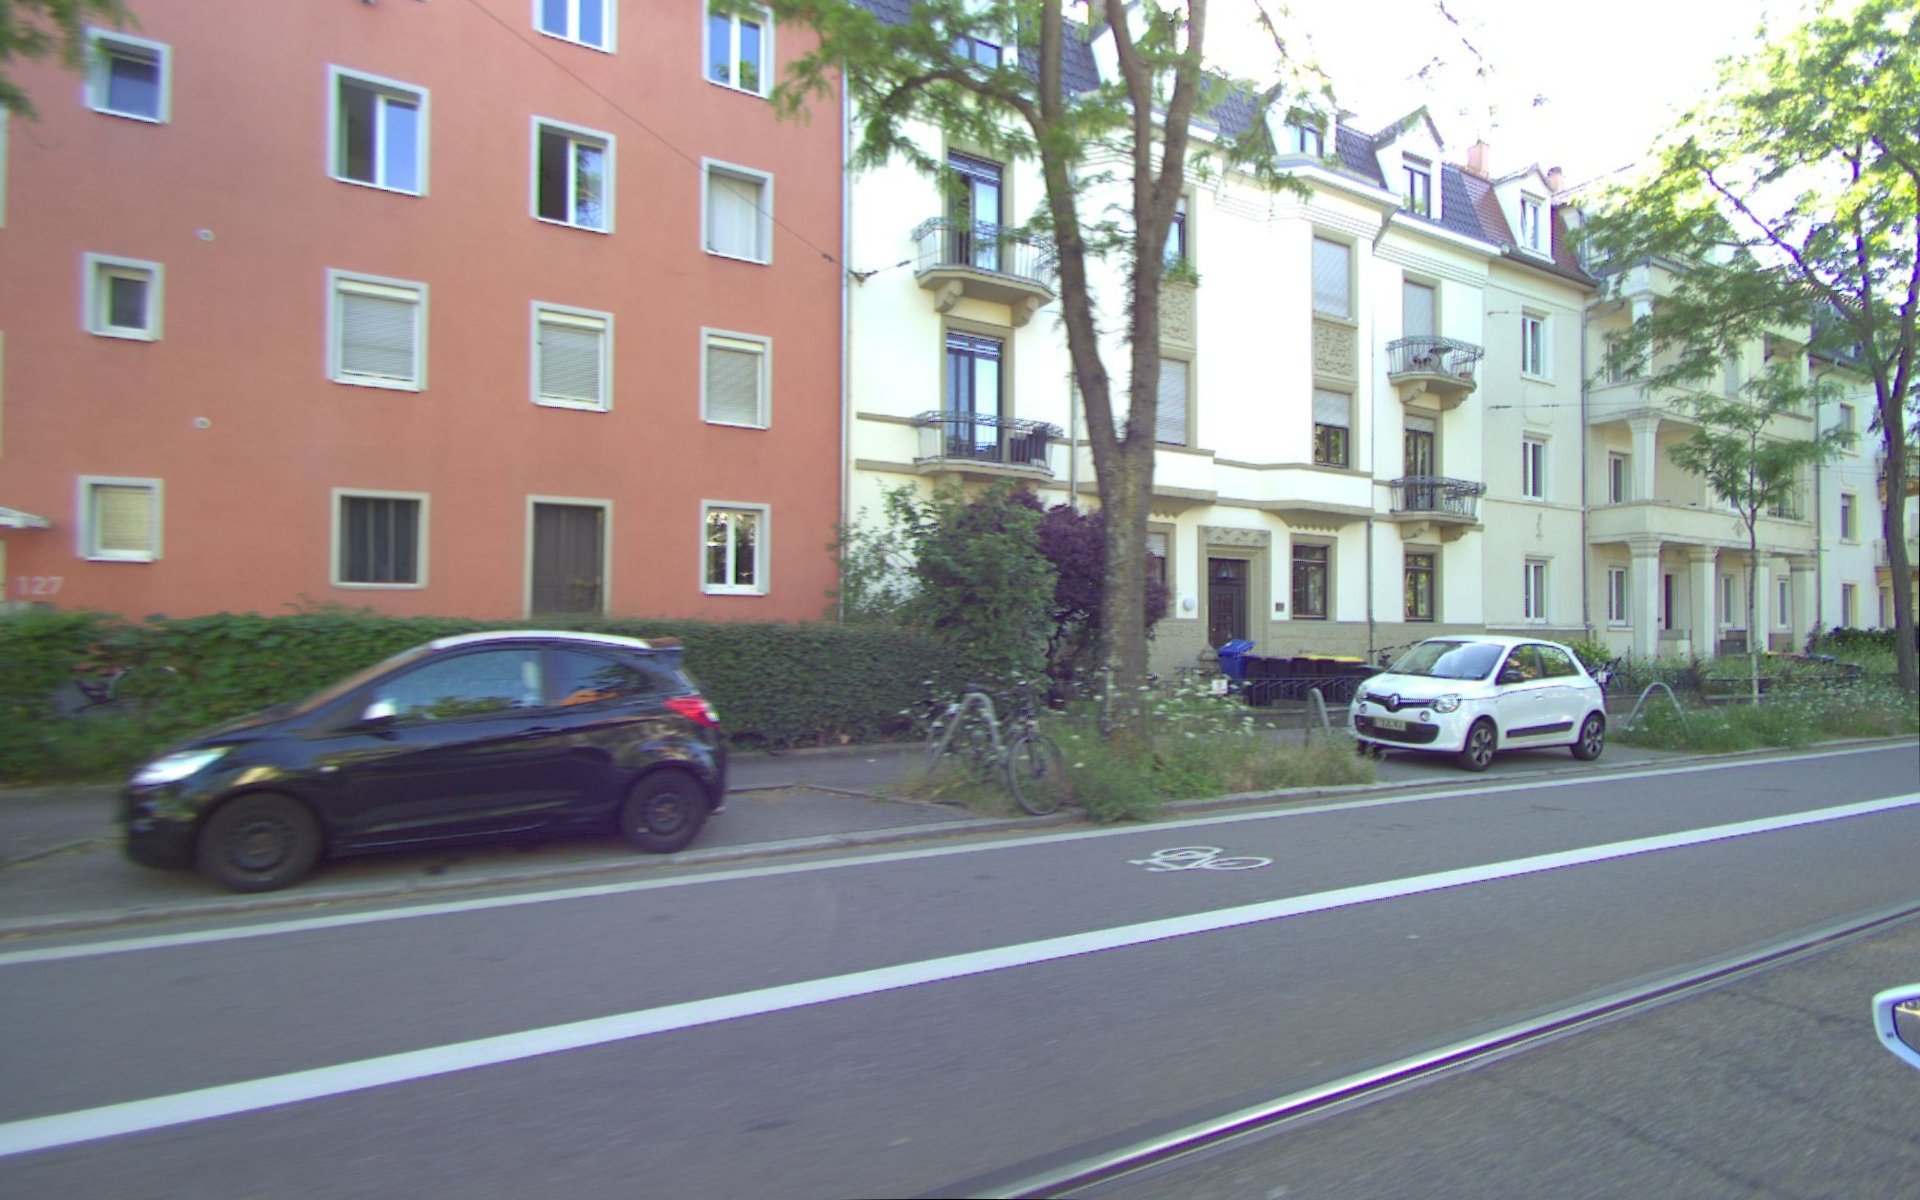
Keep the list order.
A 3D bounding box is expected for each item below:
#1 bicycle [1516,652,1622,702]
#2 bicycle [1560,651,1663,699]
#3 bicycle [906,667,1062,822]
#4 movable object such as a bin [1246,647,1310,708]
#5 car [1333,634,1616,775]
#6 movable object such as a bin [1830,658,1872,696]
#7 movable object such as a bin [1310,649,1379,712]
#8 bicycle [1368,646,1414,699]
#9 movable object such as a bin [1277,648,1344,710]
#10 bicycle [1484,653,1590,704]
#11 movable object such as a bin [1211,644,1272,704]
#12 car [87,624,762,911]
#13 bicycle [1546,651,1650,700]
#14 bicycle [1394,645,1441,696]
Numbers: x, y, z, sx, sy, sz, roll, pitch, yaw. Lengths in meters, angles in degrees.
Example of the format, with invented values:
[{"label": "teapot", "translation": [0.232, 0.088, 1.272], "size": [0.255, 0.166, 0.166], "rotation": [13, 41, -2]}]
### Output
[{"label": "bicycle", "translation": [12.913, 1.623, 21.344], "size": [1.825, 1.009, 0.558], "rotation": [0, -2, 17]}, {"label": "bicycle", "translation": [14.471, 1.647, 22.353], "size": [1.825, 1.009, 0.558], "rotation": [0, -2, 17]}, {"label": "bicycle", "translation": [0.163, 1.197, 8.824], "size": [0.536, 1.136, 1.805], "rotation": [1, -2, -28]}, {"label": "movable object such as a bin", "translation": [5.908, 1.427, 18.672], "size": [0.885, 1.099, 0.734], "rotation": [1, -2, -30]}, {"label": "car", "translation": [6.688, 1.247, 12.973], "size": [3.648, 1.555, 1.616], "rotation": [2, -1, -32]}, {"label": "movable object such as a bin", "translation": [23.470, 2.023, 26.464], "size": [0.731, 0.934, 0.625], "rotation": [1, -1, -30]}, {"label": "movable object such as a bin", "translation": [6.634, 1.373, 17.346], "size": [0.885, 1.055, 0.734], "rotation": [1, -2, -30]}, {"label": "bicycle", "translation": [9.426, 1.559, 22.010], "size": [0.547, 1.010, 1.863], "rotation": [0, 0, 12]}, {"label": "movable object such as a bin", "translation": [6.280, 1.396, 18.008], "size": [0.885, 1.068, 0.734], "rotation": [1, -2, -30]}, {"label": "bicycle", "translation": [11.941, 1.618, 20.837], "size": [1.825, 1.009, 0.558], "rotation": [0, -2, 17]}, {"label": "movable object such as a bin", "translation": [5.448, 1.419, 19.466], "size": [0.885, 1.128, 0.734], "rotation": [1, -2, -30]}, {"label": "car", "translation": [-3.348, 0.930, 6.828], "size": [3.625, 1.473, 1.547], "rotation": [2, -1, -30]}, {"label": "bicycle", "translation": [13.826, 1.621, 21.808], "size": [1.825, 1.009, 0.558], "rotation": [0, -2, 17]}, {"label": "bicycle", "translation": [10.280, 1.574, 22.633], "size": [0.547, 1.010, 1.863], "rotation": [0, 0, 12]}]
